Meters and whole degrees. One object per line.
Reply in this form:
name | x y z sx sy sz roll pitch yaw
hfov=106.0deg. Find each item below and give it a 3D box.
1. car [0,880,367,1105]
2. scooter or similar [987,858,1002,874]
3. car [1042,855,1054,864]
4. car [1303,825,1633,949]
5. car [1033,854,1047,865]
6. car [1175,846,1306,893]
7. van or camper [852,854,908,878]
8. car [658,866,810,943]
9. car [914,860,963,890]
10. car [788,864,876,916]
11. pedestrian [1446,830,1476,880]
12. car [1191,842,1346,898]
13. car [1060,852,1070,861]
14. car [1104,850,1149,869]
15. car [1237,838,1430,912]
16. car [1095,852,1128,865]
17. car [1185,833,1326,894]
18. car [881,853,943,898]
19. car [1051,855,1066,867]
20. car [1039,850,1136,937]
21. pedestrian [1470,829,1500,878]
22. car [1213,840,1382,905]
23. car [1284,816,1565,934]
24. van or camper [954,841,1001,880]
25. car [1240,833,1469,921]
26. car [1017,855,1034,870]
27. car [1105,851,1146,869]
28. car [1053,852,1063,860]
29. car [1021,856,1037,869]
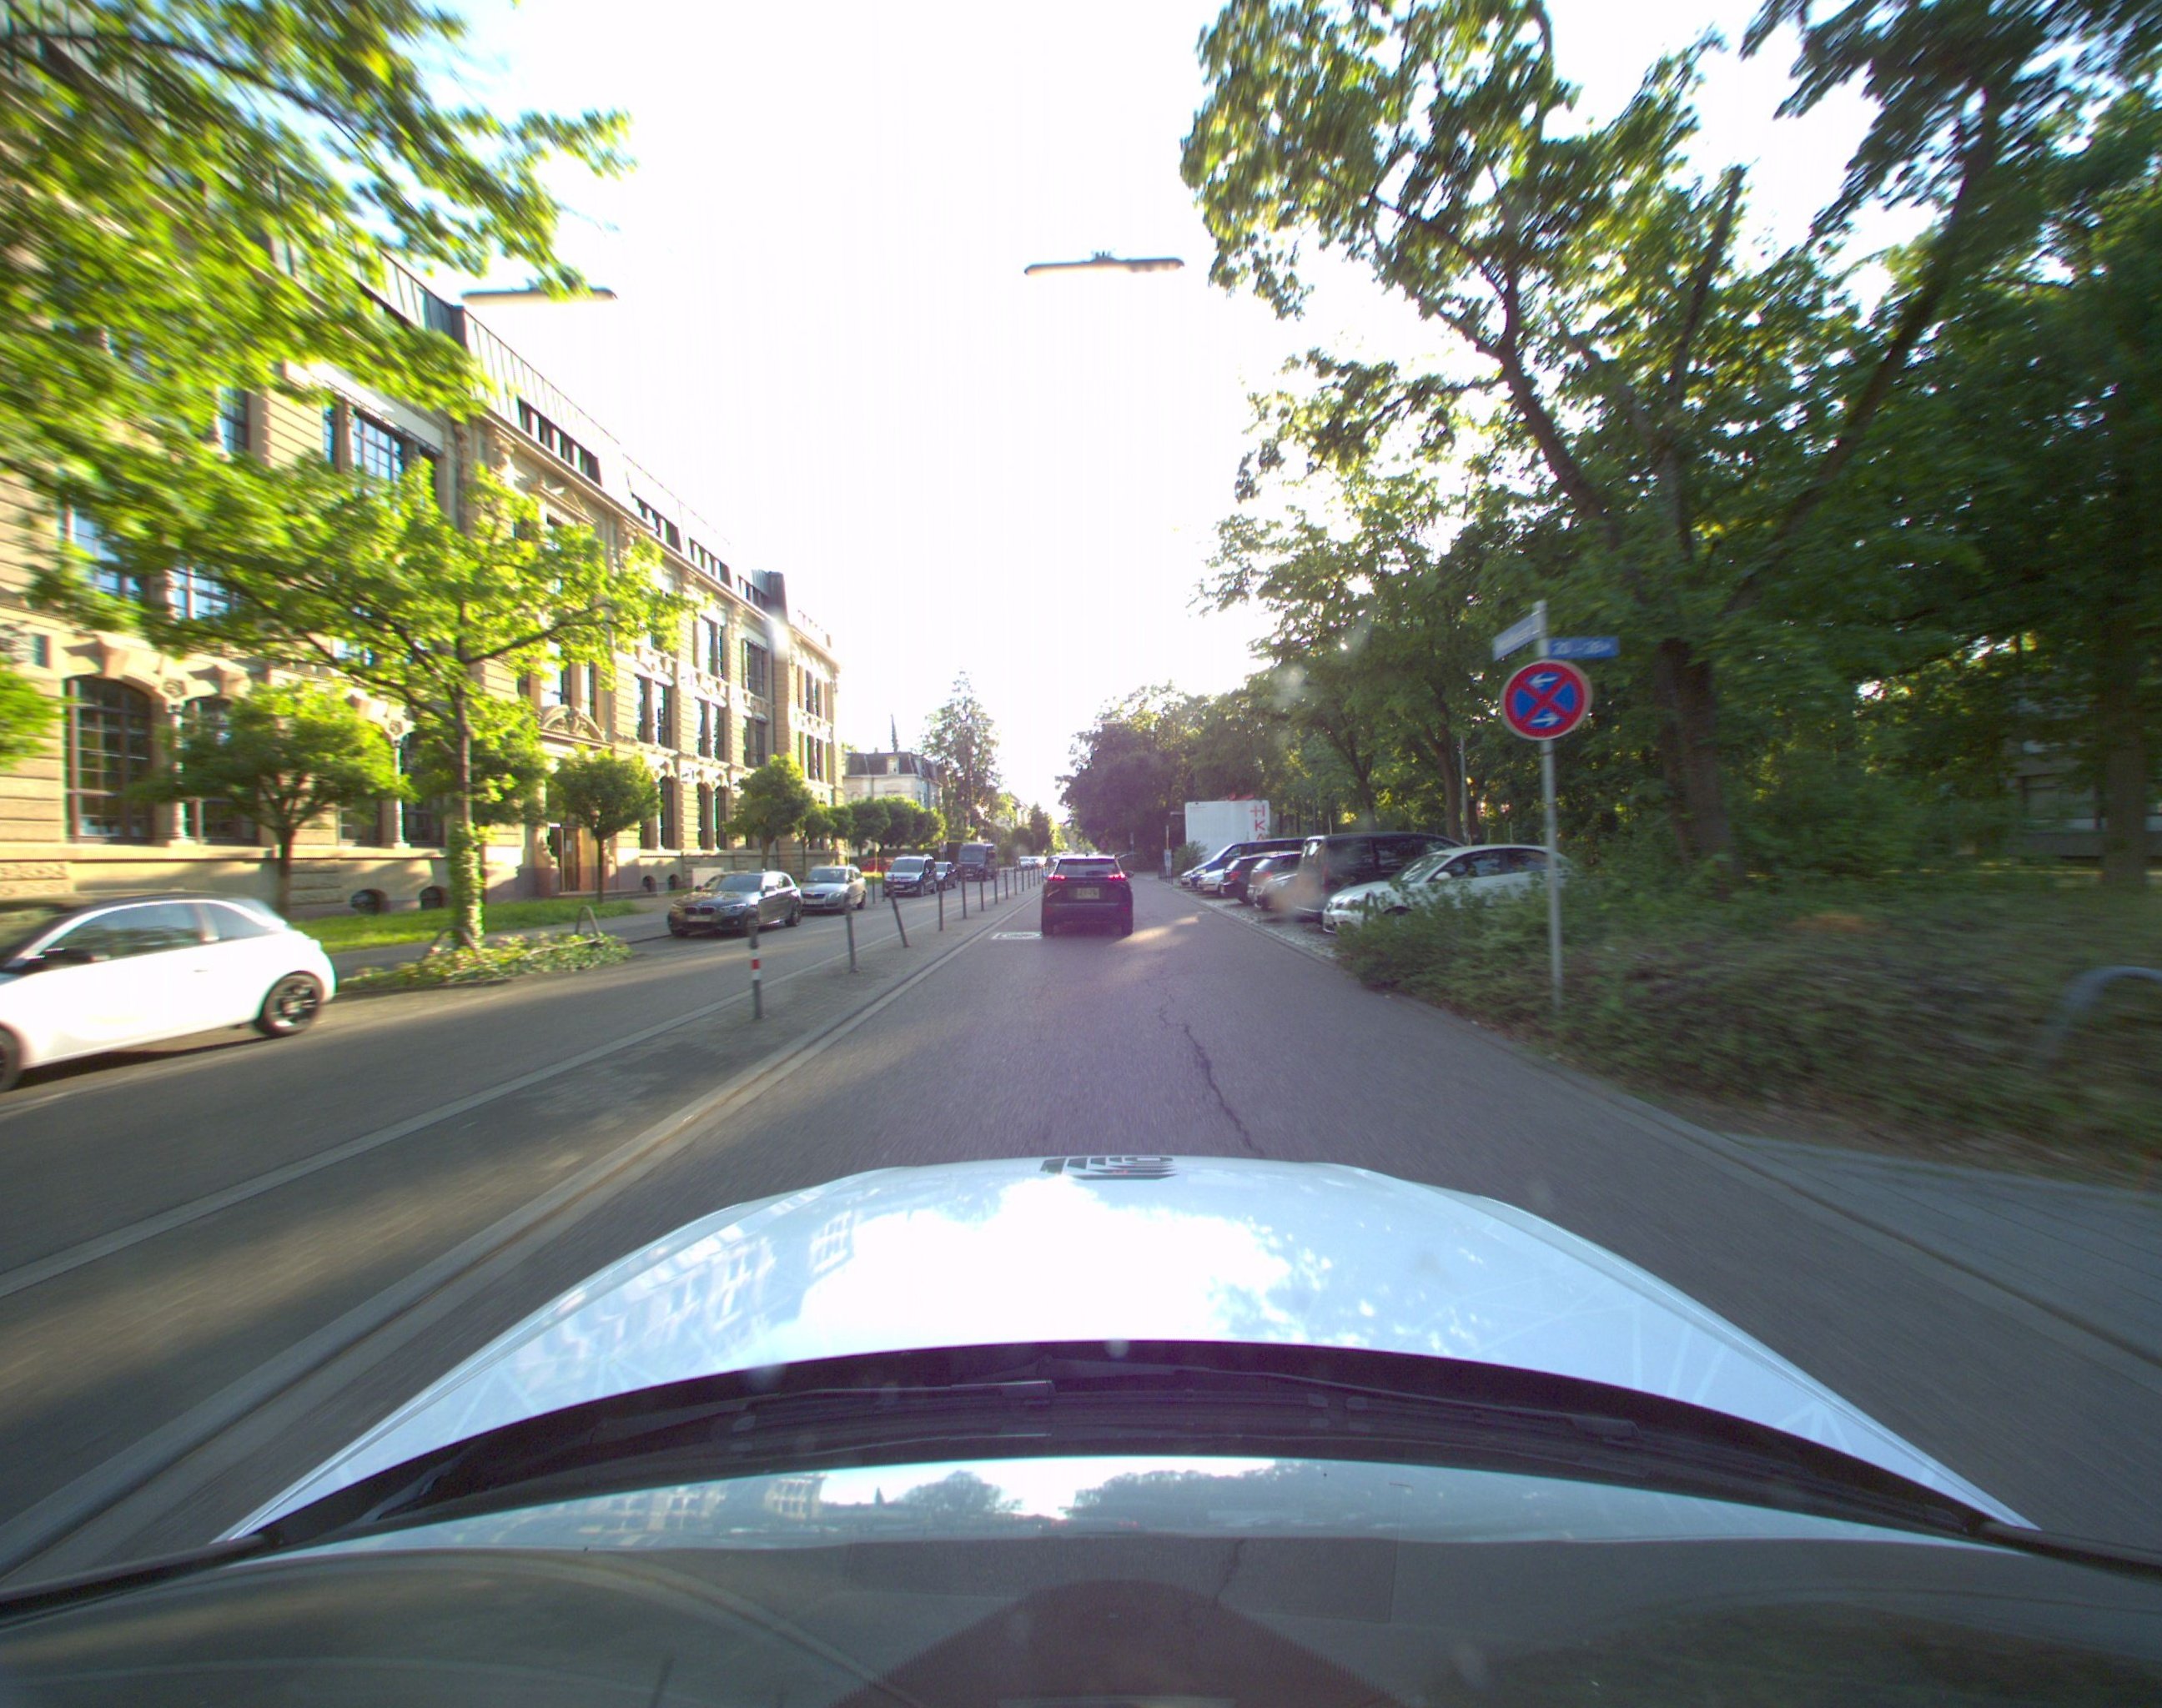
car | -8.450 1.046 6.700 1.612 1.496 3.925 -1 0 1
scooter or similar | -7.085 0.956 66.751 0.426 1.275 1.353 -2 -1 36
car | -5.424 0.942 134.665 1.747 1.413 3.763 -4 0 -1
car | 5.946 0.485 12.879 4.349 1.554 1.727 -4 0 0
car | -5.693 0.773 113.522 1.608 1.466 4.037 -2 0 1
car | 6.459 0.619 33.370 4.910 1.554 1.916 -4 0 0
van or camper | -19.486 1.175 78.948 4.749 1.985 2.003 -2 4 3
car | -7.973 1.091 19.205 1.612 1.496 4.378 -1 0 1
car | -7.467 1.072 42.974 1.689 1.470 3.857 1 0 3
car | -8.044 1.103 26.668 1.715 1.496 4.372 -1 0 -3
pedestrian | 13.943 0.027 29.878 0.662 1.772 0.785 -1 0 -3
car | 6.469 0.533 28.471 4.910 1.554 1.916 -4 0 0
car | -3.735 0.631 190.630 1.986 2.013 4.002 -1 0 2
car | 4.111 0.504 74.209 3.973 1.554 1.726 -2 1 0
car | 6.428 0.512 21.077 4.349 1.537 1.921 -4 0 0
car | 4.027 0.594 107.355 4.231 1.449 2.020 -3 0 -2
car | 6.504 0.352 30.790 4.836 1.915 1.916 -4 0 0
car | -7.636 0.919 37.214 1.771 1.866 4.334 1 0 1
car | -2.977 0.926 107.380 1.735 1.458 4.624 -2 0 1
car | 0.171 0.716 17.030 1.765 1.568 4.110 -1 0 1
pedestrian | 14.955 -0.015 30.127 0.645 1.772 0.789 -1 -1 -3
car | 6.200 0.523 23.678 4.349 1.537 1.921 -4 0 0
car | 6.227 0.366 15.161 4.349 1.780 1.921 -4 0 0
van or camper | -7.101 0.415 56.677 2.222 2.544 7.080 0 0 1
car | 5.909 0.488 17.978 4.349 1.554 1.876 -4 0 0
car | -6.277 0.961 91.847 1.609 1.515 3.711 -4 0 -1
car | 4.313 0.565 79.310 3.973 1.554 1.752 -2 1 0
car | -5.053 0.427 179.516 1.893 1.574 4.000 -1 0 1
car | -6.184 0.974 97.633 1.608 1.485 3.742 -2 0 1
